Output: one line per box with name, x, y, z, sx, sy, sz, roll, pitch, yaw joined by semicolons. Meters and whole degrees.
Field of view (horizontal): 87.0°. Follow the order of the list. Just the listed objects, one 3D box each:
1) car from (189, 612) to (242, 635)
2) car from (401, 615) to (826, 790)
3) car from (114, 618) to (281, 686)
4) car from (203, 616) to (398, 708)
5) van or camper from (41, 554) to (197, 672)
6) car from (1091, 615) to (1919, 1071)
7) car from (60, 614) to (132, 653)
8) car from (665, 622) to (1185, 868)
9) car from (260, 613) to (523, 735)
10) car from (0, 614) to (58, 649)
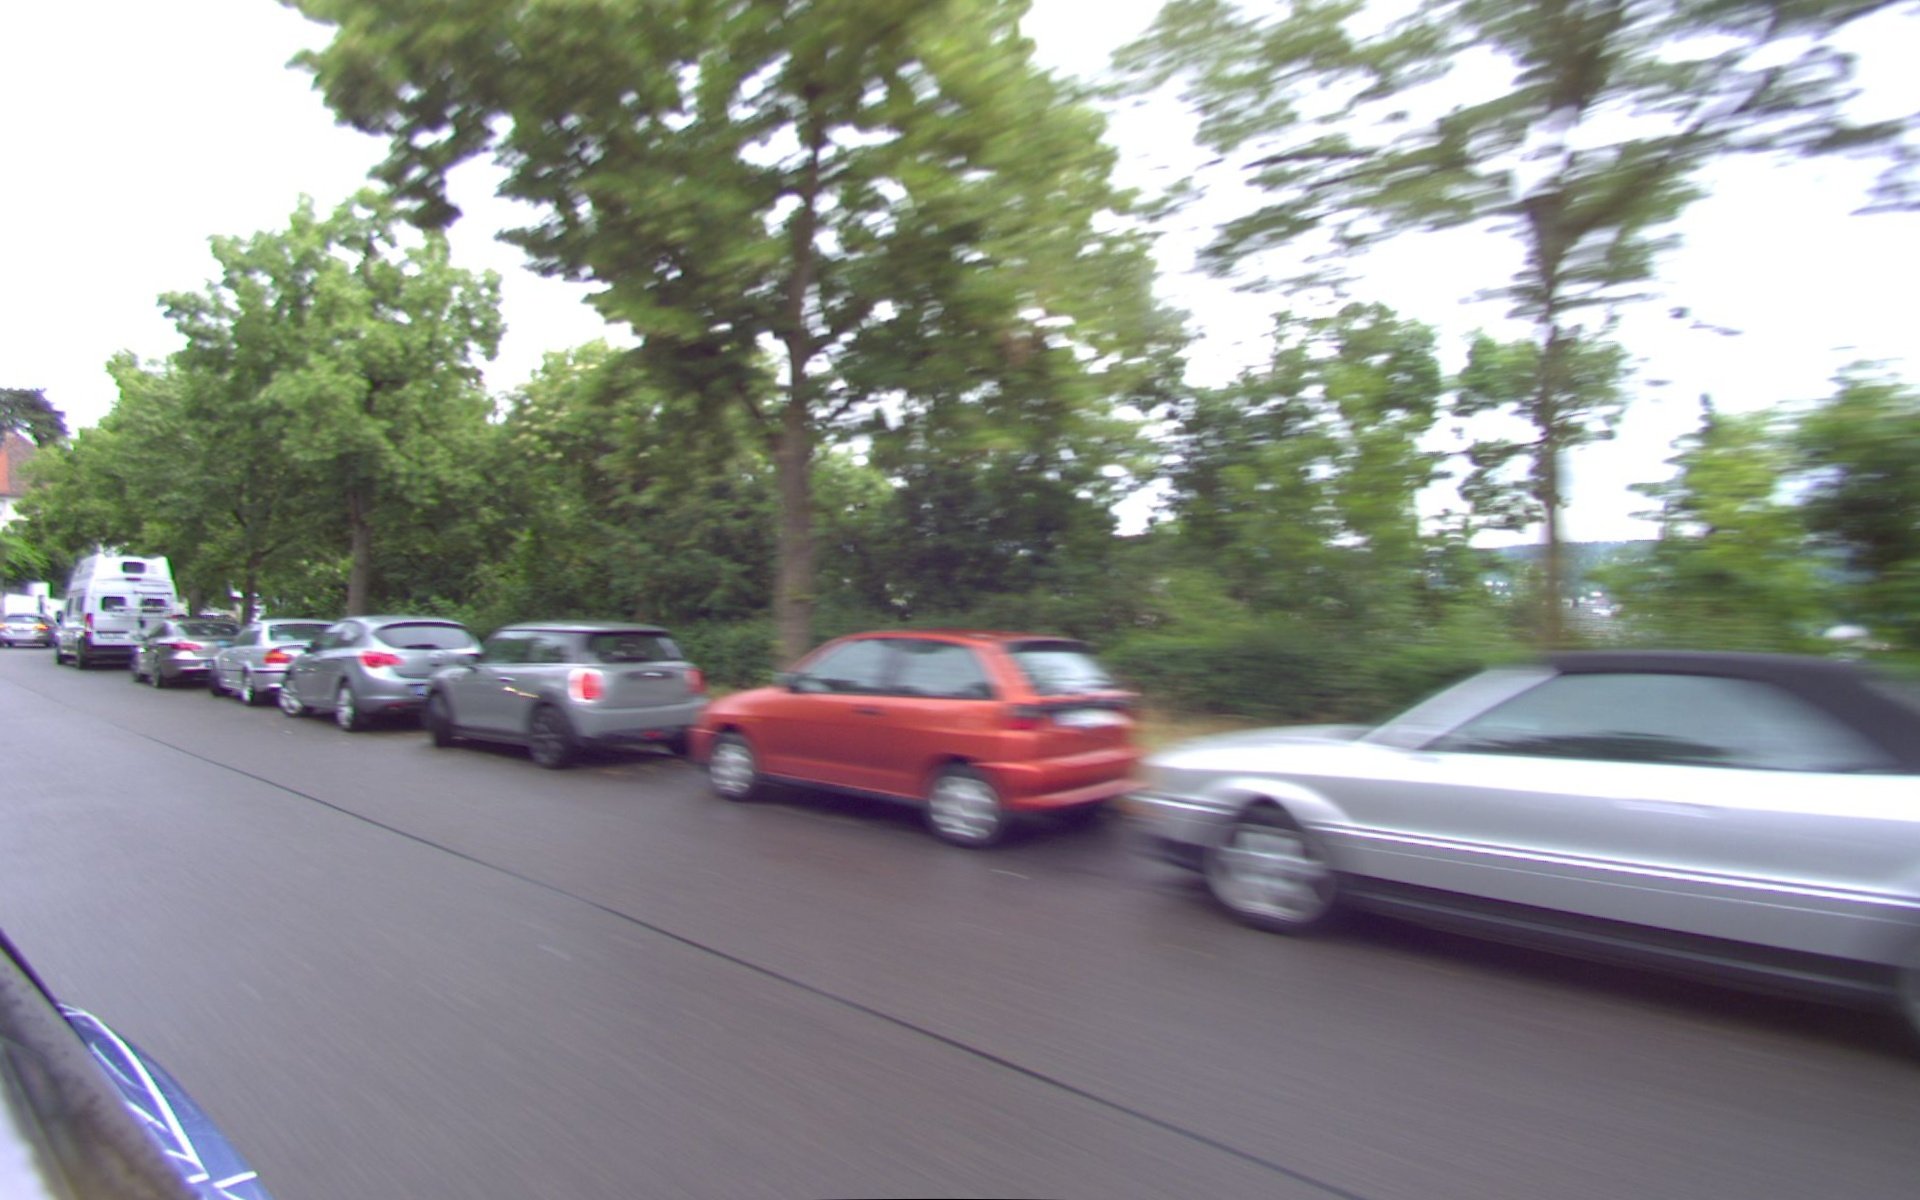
car;-51.849;1.681;70.528;1.632;1.440;4.388;3;-3;-18
car;-3.807;0.917;10.743;4.706;1.416;1.975;0;-2;37
car;-16.697;1.106;22.044;5.355;1.319;1.972;-2;-4;43
car;-11.801;1.045;17.972;1.970;1.416;4.716;3;-3;-45
van or camper;-24.315;0.357;29.140;6.560;3.050;2.479;0;-1;42
car;2.898;0.830;4.412;4.417;1.413;1.736;-2;-5;41
car;-35.386;1.375;41.541;1.929;1.472;4.584;4;-4;-38
car;-0.446;0.890;7.821;3.998;1.372;1.579;0;-1;40
car;-8.234;0.938;14.450;4.715;1.416;1.971;0;-2;44
car;-40.003;1.315;43.228;1.858;1.413;4.265;1;-1;-37
